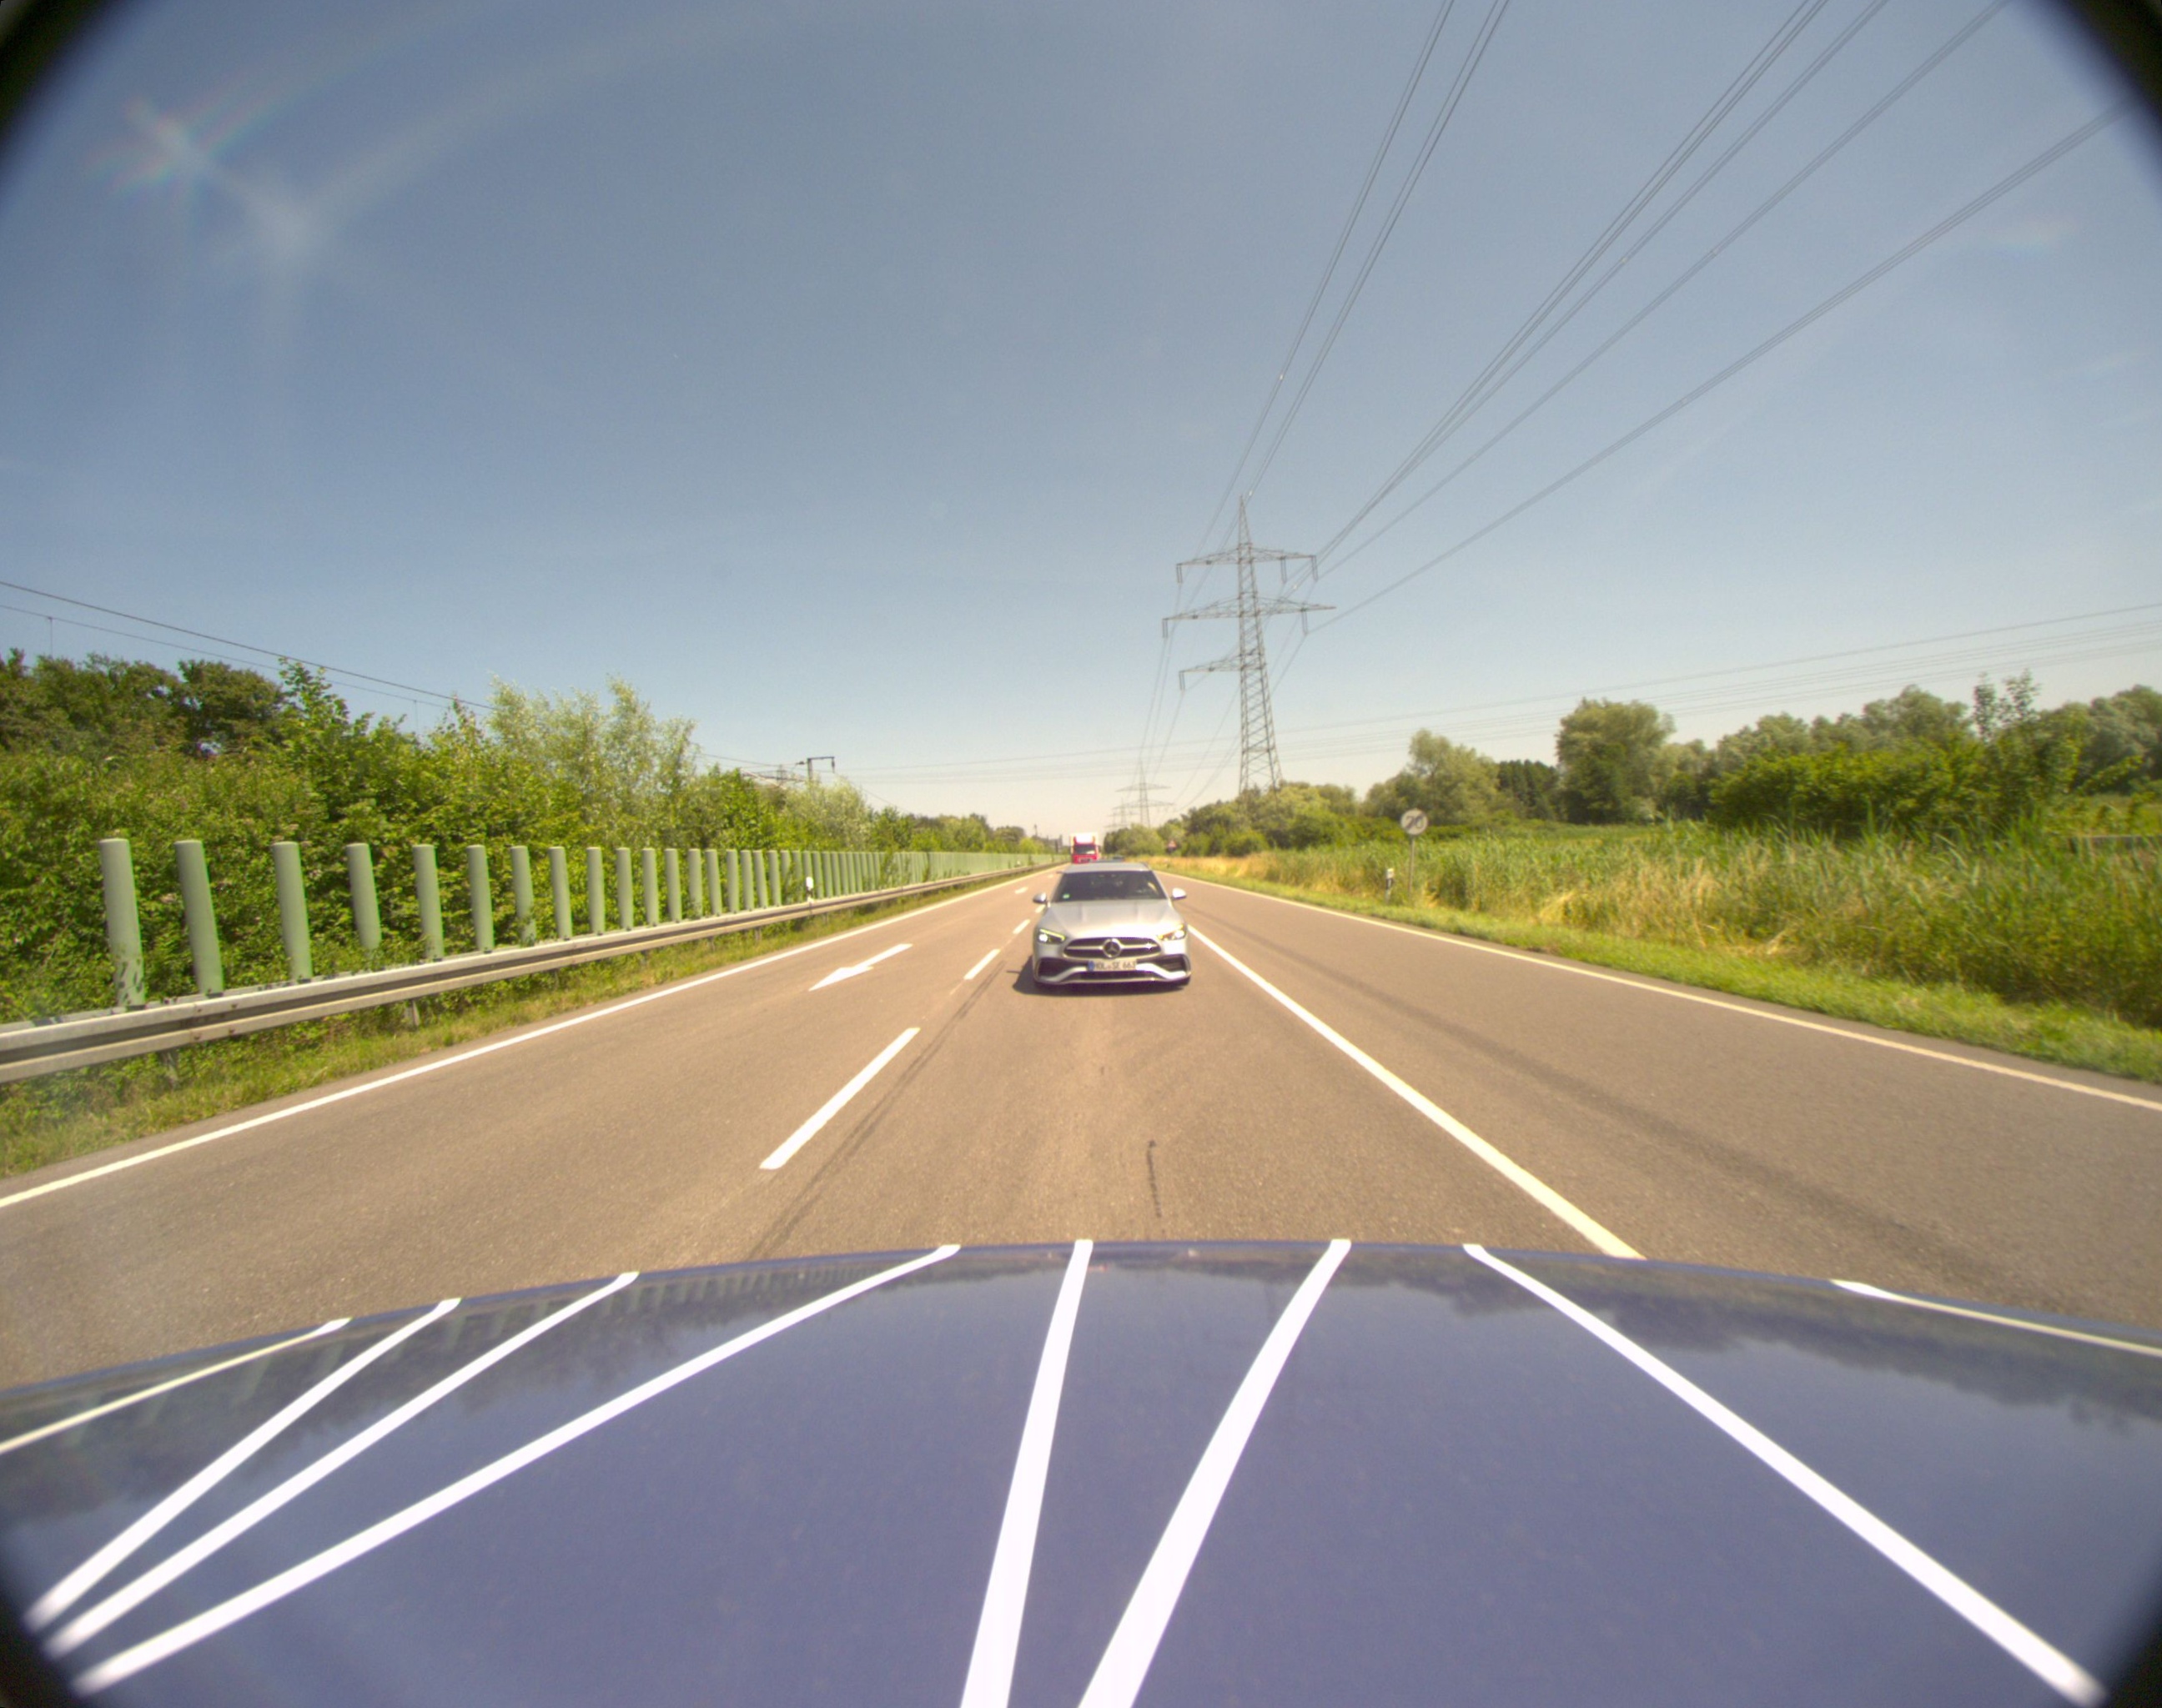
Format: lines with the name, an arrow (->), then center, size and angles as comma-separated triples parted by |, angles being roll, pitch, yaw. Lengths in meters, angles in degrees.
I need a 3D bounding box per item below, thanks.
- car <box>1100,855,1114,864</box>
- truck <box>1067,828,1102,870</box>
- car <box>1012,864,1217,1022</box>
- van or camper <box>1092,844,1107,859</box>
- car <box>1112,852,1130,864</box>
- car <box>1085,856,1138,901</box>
car -> 3.817, 0.748, 113.743 | 1.864, 1.221, 4.322 | -2, 0, 0
truck -> 0.394, -0.461, 72.505 | 2.907, 3.641, 7.156 | -4, 0, 1
car -> 0.390, 0.920, 9.835 | 1.998, 1.437, 4.467 | -2, 0, 1
van or camper -> 3.890, -0.487, 157.496 | 2.578, 2.865, 6.744 | -2, 1, -2
car -> 4.713, 0.455, 90.022 | 1.749, 1.425, 4.322 | -2, 0, 0
car -> 1.093, 0.828, 27.429 | 1.697, 1.385, 4.468 | -2, 0, 2
